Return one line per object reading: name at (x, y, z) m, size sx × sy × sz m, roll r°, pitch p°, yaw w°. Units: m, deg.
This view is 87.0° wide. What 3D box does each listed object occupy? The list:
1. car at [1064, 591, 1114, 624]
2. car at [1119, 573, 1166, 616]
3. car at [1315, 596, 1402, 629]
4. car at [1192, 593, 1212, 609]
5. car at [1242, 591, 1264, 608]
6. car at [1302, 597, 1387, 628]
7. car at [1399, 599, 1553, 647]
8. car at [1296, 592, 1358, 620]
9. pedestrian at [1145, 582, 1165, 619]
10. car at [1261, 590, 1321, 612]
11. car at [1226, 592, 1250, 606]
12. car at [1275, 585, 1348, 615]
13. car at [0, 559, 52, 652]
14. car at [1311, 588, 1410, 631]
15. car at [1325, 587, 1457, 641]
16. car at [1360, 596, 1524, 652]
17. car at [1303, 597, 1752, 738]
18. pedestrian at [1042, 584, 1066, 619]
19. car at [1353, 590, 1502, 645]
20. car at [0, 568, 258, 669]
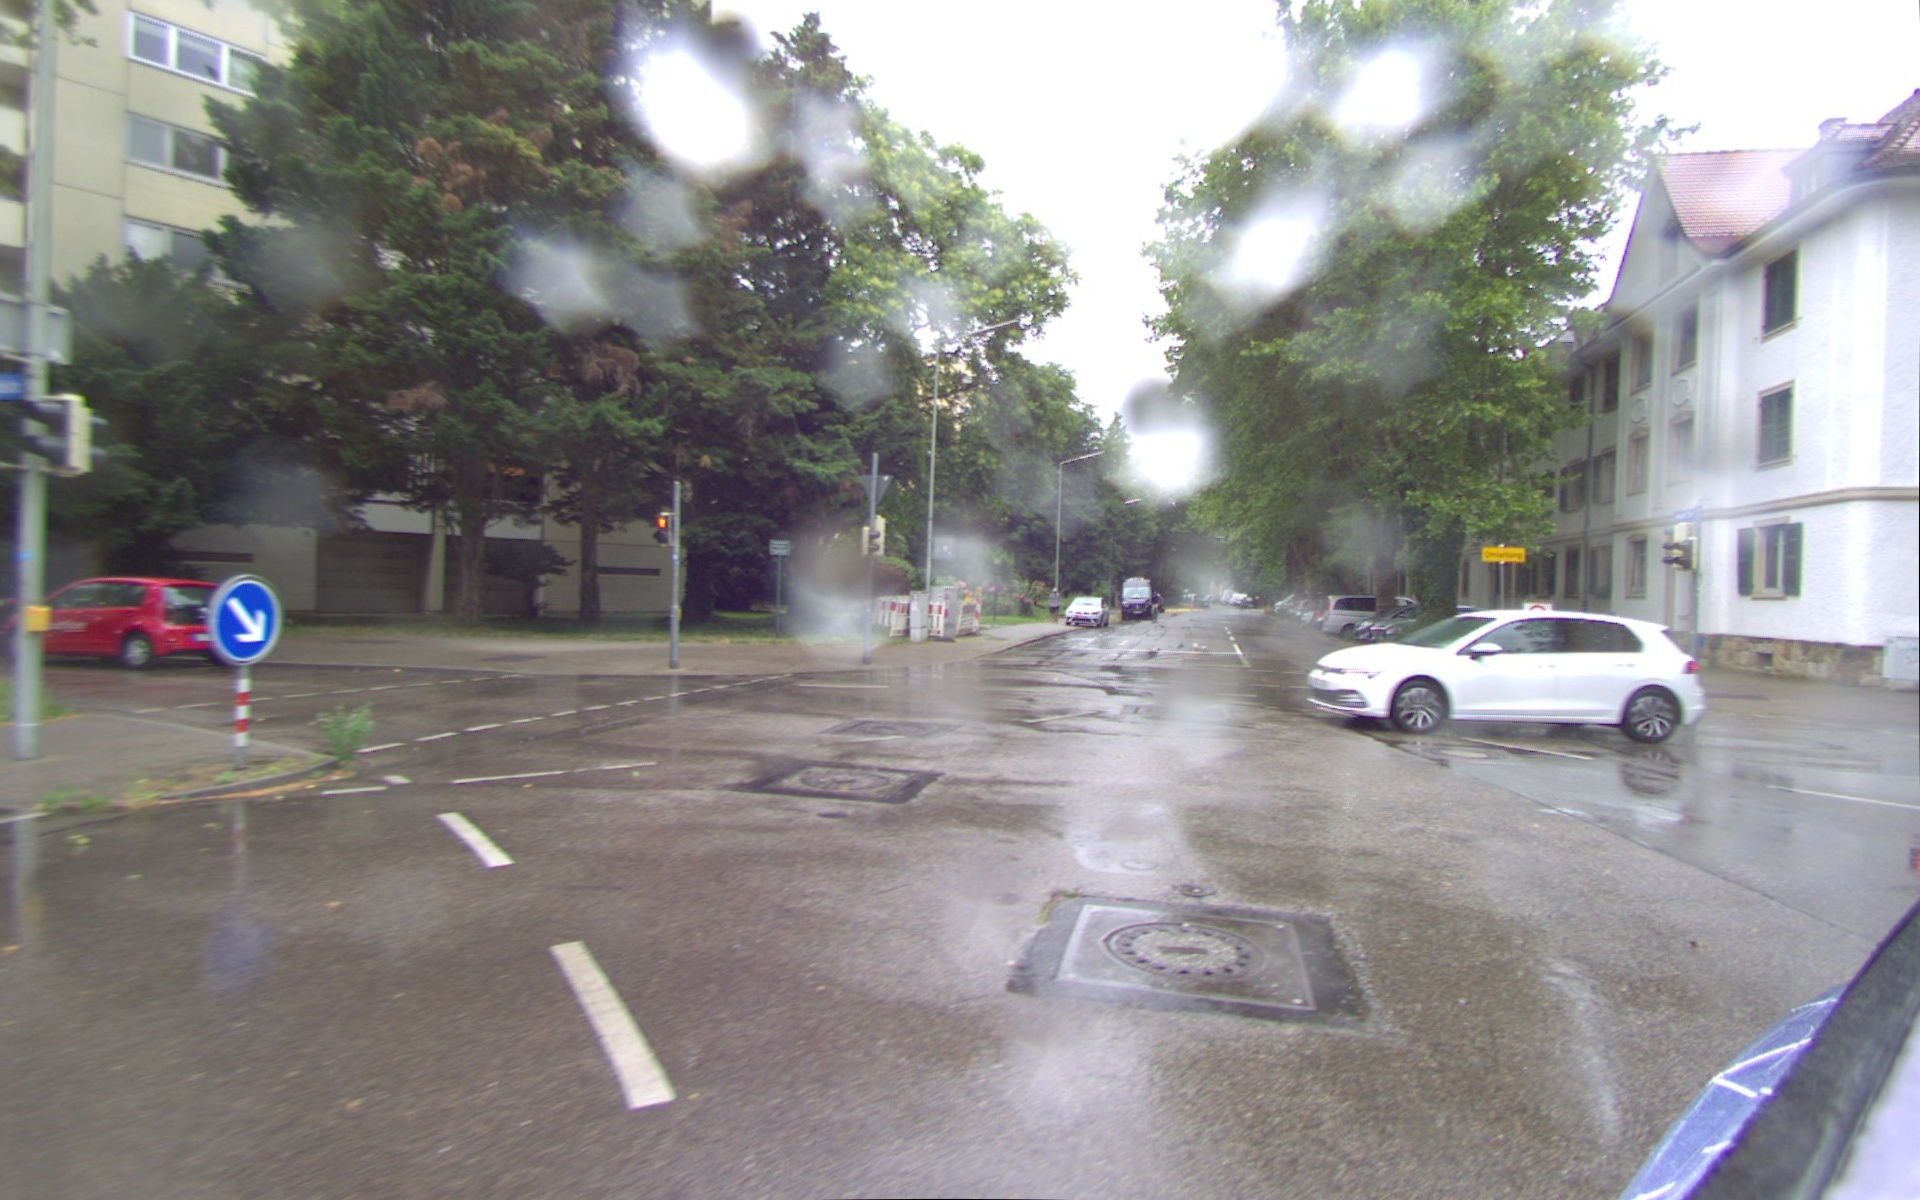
car at (6.302, 0.336, 49.067) m, size 1.797 × 1.478 × 4.250 m, roll 1°, pitch 1°, yaw 16°
car at (11.595, -0.335, 64.134) m, size 2.369 × 2.506 × 5.664 m, roll 3°, pitch 1°, yaw 15°
car at (22.625, 0.693, 57.688) m, size 4.349 × 1.605 × 1.918 m, roll 3°, pitch 1°, yaw 16°
car at (28.512, 0.080, 119.272) m, size 1.968 × 1.829 × 4.336 m, roll 1°, pitch 1°, yaw 11°
car at (34.225, -0.066, 118.397) m, size 1.968 × 1.829 × 3.988 m, roll 1°, pitch 1°, yaw 10°
car at (22.781, 0.696, 60.195) m, size 4.466 × 1.590 × 2.024 m, roll 3°, pitch 1°, yaw 16°
car at (16.092, 0.680, 31.738) m, size 3.937 × 1.371 × 1.791 m, roll 1°, pitch 0°, yaw 12°
car at (24.733, 0.386, 68.339) m, size 3.670 × 1.711 × 1.928 m, roll 3°, pitch 1°, yaw 16°
pedestrian at (11.142, 0.017, 57.746) m, size 0.932 × 2.088 × 1.074 m, roll 2°, pitch 0°, yaw 18°
car at (27.819, 0.081, 85.281) m, size 4.606 × 1.624 × 2.024 m, roll 3°, pitch 1°, yaw 16°
car at (33.729, -0.122, 122.949) m, size 1.963 × 1.643 × 3.693 m, roll 1°, pitch 1°, yaw 2°
car at (26.766, -0.030, 77.198) m, size 5.018 × 2.049 × 2.023 m, roll 3°, pitch 1°, yaw 16°
car at (-19.043, 0.049, 18.173) m, size 4.389 × 1.628 × 1.932 m, roll 1°, pitch 0°, yaw 14°
car at (20.432, 0.468, 51.775) m, size 4.377 × 1.923 × 2.025 m, roll 3°, pitch 1°, yaw 13°
car at (17.308, 0.523, 40.894) m, size 4.606 × 1.897 × 2.024 m, roll 3°, pitch 1°, yaw 16°
car at (16.335, 0.777, 34.532) m, size 4.670 × 1.643 × 1.922 m, roll 3°, pitch 1°, yaw 13°
car at (6.579, 0.742, 12.095) m, size 4.316 × 1.451 × 1.782 m, roll 1°, pitch 0°, yaw 1°
pedestrian at (4.615, 0.078, 49.638) m, size 0.932 × 1.681 × 0.923 m, roll 2°, pitch 0°, yaw 18°
car at (16.959, 0.602, 36.969) m, size 4.606 × 1.711 × 2.024 m, roll 3°, pitch 1°, yaw 16°
car at (-14.163, 0.266, 17.194) m, size 3.406 × 1.544 × 1.836 m, roll 1°, pitch 0°, yaw 11°
